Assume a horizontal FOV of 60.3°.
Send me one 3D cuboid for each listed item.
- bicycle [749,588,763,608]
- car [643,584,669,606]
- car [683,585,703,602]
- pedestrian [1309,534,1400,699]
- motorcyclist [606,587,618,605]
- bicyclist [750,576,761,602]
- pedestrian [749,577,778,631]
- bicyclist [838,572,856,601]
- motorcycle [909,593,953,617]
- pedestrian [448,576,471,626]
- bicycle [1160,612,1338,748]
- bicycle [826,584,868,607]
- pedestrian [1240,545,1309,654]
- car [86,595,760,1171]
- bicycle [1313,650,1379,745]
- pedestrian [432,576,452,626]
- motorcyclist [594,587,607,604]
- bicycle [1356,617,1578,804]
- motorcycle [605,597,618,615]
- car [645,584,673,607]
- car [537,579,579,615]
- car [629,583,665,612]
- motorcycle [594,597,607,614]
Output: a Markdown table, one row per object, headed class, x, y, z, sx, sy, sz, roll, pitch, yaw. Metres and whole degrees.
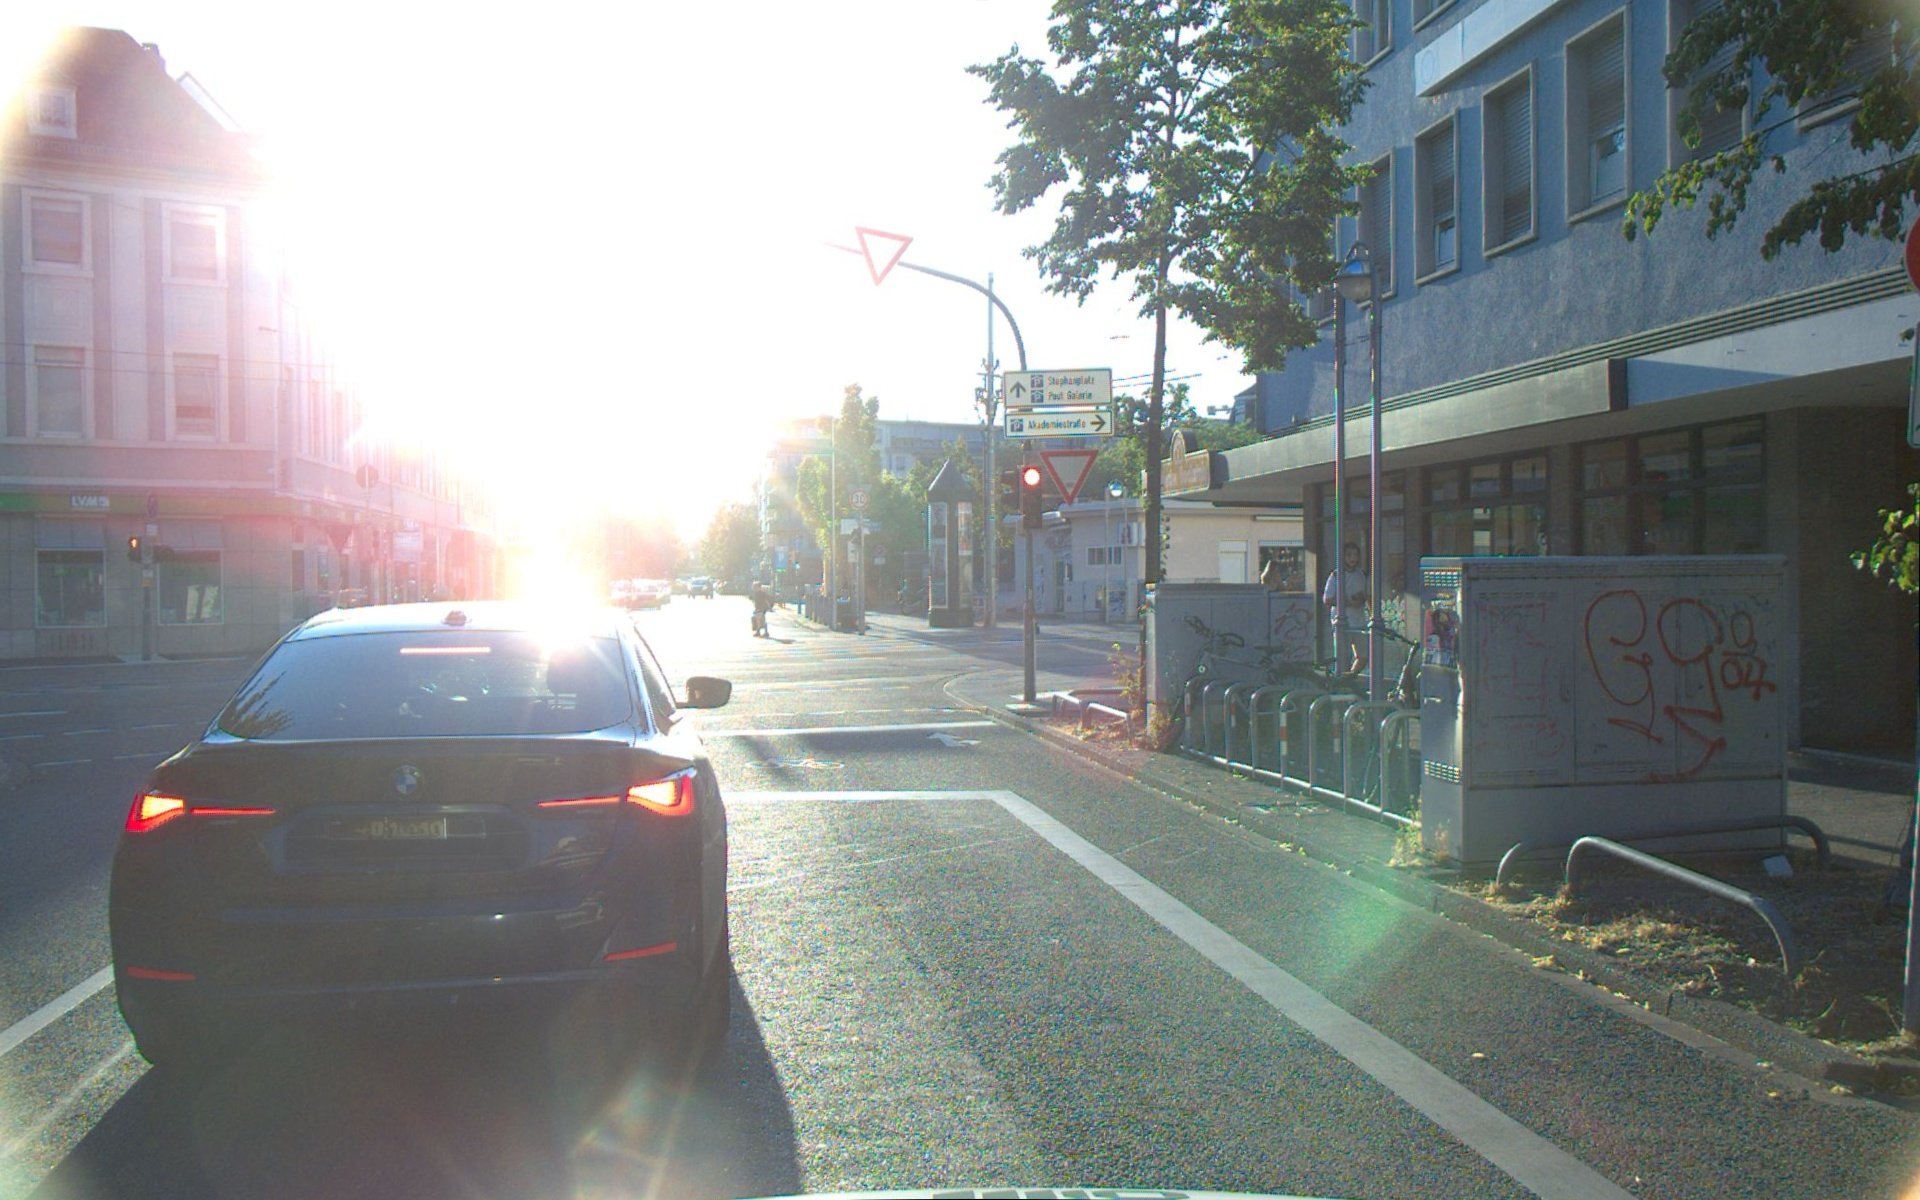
| class | x | y | z | sx | sy | sz | roll | pitch | yaw |
| --- | --- | --- | --- | --- | --- | --- | --- | --- | --- |
| bicycle | -11.953 | -0.119 | 96.819 | 0.541 | 1.179 | 2.136 | 1 | 0 | -15 |
| car | -22.564 | -0.391 | 122.883 | 1.784 | 1.545 | 3.992 | -1 | 1 | -9 |
| car | -24.272 | -0.607 | 150.376 | 1.784 | 1.545 | 3.992 | -1 | 1 | -9 |
| pedestrian | 4.583 | 0.183 | 19.236 | 0.820 | 1.874 | 0.677 | -1 | 0 | -9 |
| motorcyclist | -19.148 | -0.226 | 90.941 | 0.564 | 1.013 | 0.701 | 1 | 0 | -9 |
| bicyclist | -11.969 | -0.615 | 96.899 | 0.541 | 1.507 | 0.720 | 1 | 0 | -15 |
| pedestrian | -5.791 | 0.120 | 48.758 | 0.723 | 1.555 | 0.469 | 1 | 0 | -26 |
| bicyclist | -6.034 | -0.705 | 88.502 | 0.865 | 1.532 | 0.612 | 1 | 0 | 3 |
| motorcycle | -1.182 | 0.208 | 67.833 | 1.644 | 0.955 | 0.851 | -1 | 1 | -20 |
| pedestrian | -19.453 | 0.029 | 64.306 | 0.662 | 1.909 | 0.618 | 1 | 0 | 3 |
| bicycle | 2.652 | 0.724 | 15.189 | 1.582 | 1.191 | 0.318 | -1 | 0 | -7 |
| bicycle | -6.068 | -0.238 | 88.515 | 2.166 | 1.223 | 0.620 | 1 | 0 | 2 |
| pedestrian | 5.708 | -0.016 | 30.036 | 0.990 | 1.892 | 0.634 | -4 | 2 | -29 |
| car | -1.743 | 0.720 | 6.458 | 1.705 | 1.453 | 4.214 | 0 | 0 | -10 |
| bicycle | 3.577 | 0.893 | 15.384 | 0.244 | 0.810 | 1.114 | 1 | 0 | -6 |
| pedestrian | -19.879 | 0.026 | 63.491 | 0.631 | 1.909 | 0.630 | 1 | 0 | -9 |
| motorcyclist | -20.105 | -0.249 | 92.539 | 0.564 | 0.931 | 2.196 | 1 | 0 | -8 |
| bicycle | 3.472 | 0.751 | 11.351 | 1.413 | 1.241 | 0.383 | 1 | 0 | -8 |
| motorcycle | -19.173 | 0.314 | 91.041 | 0.564 | 0.931 | 2.196 | 1 | 0 | -8 |
| car | -20.639 | -0.309 | 113.478 | 1.784 | 1.545 | 3.992 | -1 | 1 | -9 |
| car | -21.064 | -0.194 | 86.787 | 1.784 | 1.819 | 3.992 | -1 | 1 | -9 |
| car | -17.340 | -0.166 | 91.862 | 1.784 | 1.545 | 3.992 | -1 | 1 | -9 |
| motorcycle | -20.128 | 0.291 | 92.620 | 0.564 | 0.931 | 2.196 | 1 | 0 | -8 |
